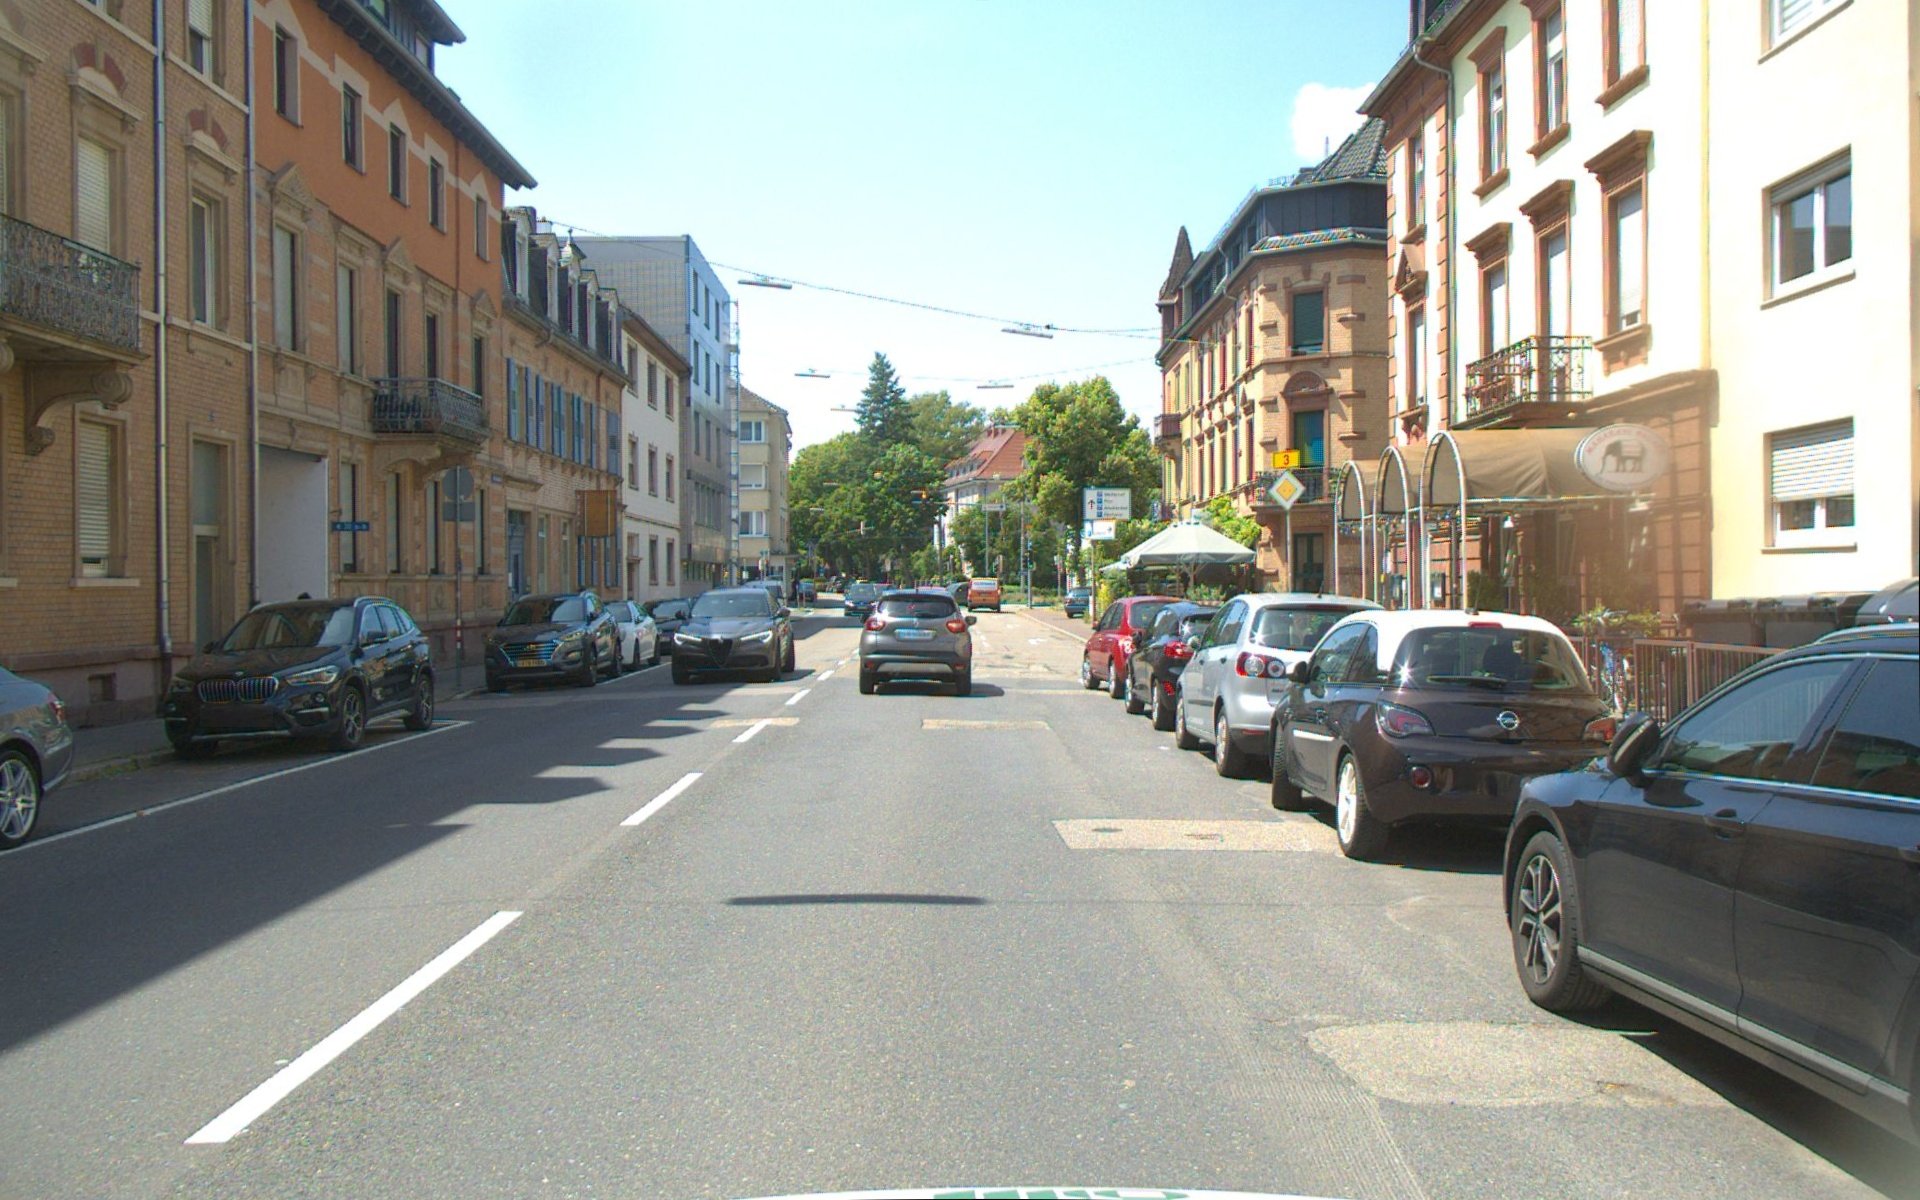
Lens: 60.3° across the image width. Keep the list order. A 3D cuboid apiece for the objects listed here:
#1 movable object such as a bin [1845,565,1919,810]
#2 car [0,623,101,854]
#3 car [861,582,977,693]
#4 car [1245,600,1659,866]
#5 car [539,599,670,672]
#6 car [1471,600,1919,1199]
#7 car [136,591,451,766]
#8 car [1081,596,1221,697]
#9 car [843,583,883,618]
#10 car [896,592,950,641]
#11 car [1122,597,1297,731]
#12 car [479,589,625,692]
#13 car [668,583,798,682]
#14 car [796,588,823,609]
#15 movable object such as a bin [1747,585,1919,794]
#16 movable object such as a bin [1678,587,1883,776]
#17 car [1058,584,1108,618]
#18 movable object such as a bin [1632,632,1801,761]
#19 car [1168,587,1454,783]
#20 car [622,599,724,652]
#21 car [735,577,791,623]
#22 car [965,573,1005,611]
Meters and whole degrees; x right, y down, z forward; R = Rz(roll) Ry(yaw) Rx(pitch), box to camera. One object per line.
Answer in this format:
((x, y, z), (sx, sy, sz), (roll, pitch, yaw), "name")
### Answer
((6.584, 0.560, 10.631), (1.021, 1.544, 1.446), (1, 0, 1), "movable object such as a bin")
((-6.942, 0.920, 9.213), (1.866, 1.425, 4.753), (-2, 0, -1), "car")
((-0.662, 0.543, 26.492), (1.708, 1.644, 3.999), (0, 0, -2), "car")
((3.148, 0.757, 11.415), (1.626, 1.466, 4.000), (1, 0, 0), "car")
((-7.514, 0.716, 35.388), (1.866, 1.381, 4.302), (-2, 0, -1), "car")
((3.160, 0.781, 4.725), (1.823, 1.490, 4.616), (1, 0, -2), "car")
((-7.274, 0.774, 18.565), (1.866, 1.648, 4.300), (-2, 0, -2), "car")
((2.938, 0.679, 26.031), (1.579, 1.468, 3.434), (0, 0, -4), "car")
((-4.769, 0.006, 81.519), (1.754, 1.654, 3.743), (0, 0, 0), "car")
((-1.388, 0.590, 60.387), (1.776, 1.649, 4.438), (-2, 0, -3), "car")
((2.977, 0.714, 20.323), (1.578, 1.487, 3.504), (0, 0, -1), "car")
((-7.329, 0.681, 30.098), (1.868, 1.648, 4.297), (-2, 0, -5), "car")
((-4.100, 0.549, 30.469), (1.900, 1.654, 3.999), (-2, 0, -2), "car")
((-11.882, -0.133, 131.080), (1.753, 1.654, 3.743), (0, 0, 1), "car")
((6.522, 0.614, 12.002), (1.021, 1.426, 1.254), (1, 0, 1), "movable object such as a bin")
((6.540, 0.620, 13.259), (1.021, 1.426, 1.254), (1, 0, 1), "movable object such as a bin")
((6.024, 0.030, 80.566), (1.857, 1.534, 3.946), (-1, 0, 12), "car")
((6.559, 0.819, 14.394), (1.021, 1.040, 0.991), (1, 0, 1), "movable object such as a bin")
((3.159, 0.693, 15.696), (1.822, 1.580, 4.000), (1, 0, 0), "car")
((-7.541, 0.640, 43.884), (1.865, 1.314, 4.303), (-1, 0, 1), "car")
((-8.328, -0.002, 70.166), (1.866, 1.853, 4.302), (-1, 0, 0), "car")
((1.440, -0.458, 93.362), (1.951, 2.049, 4.468), (-1, 0, 4), "car")
